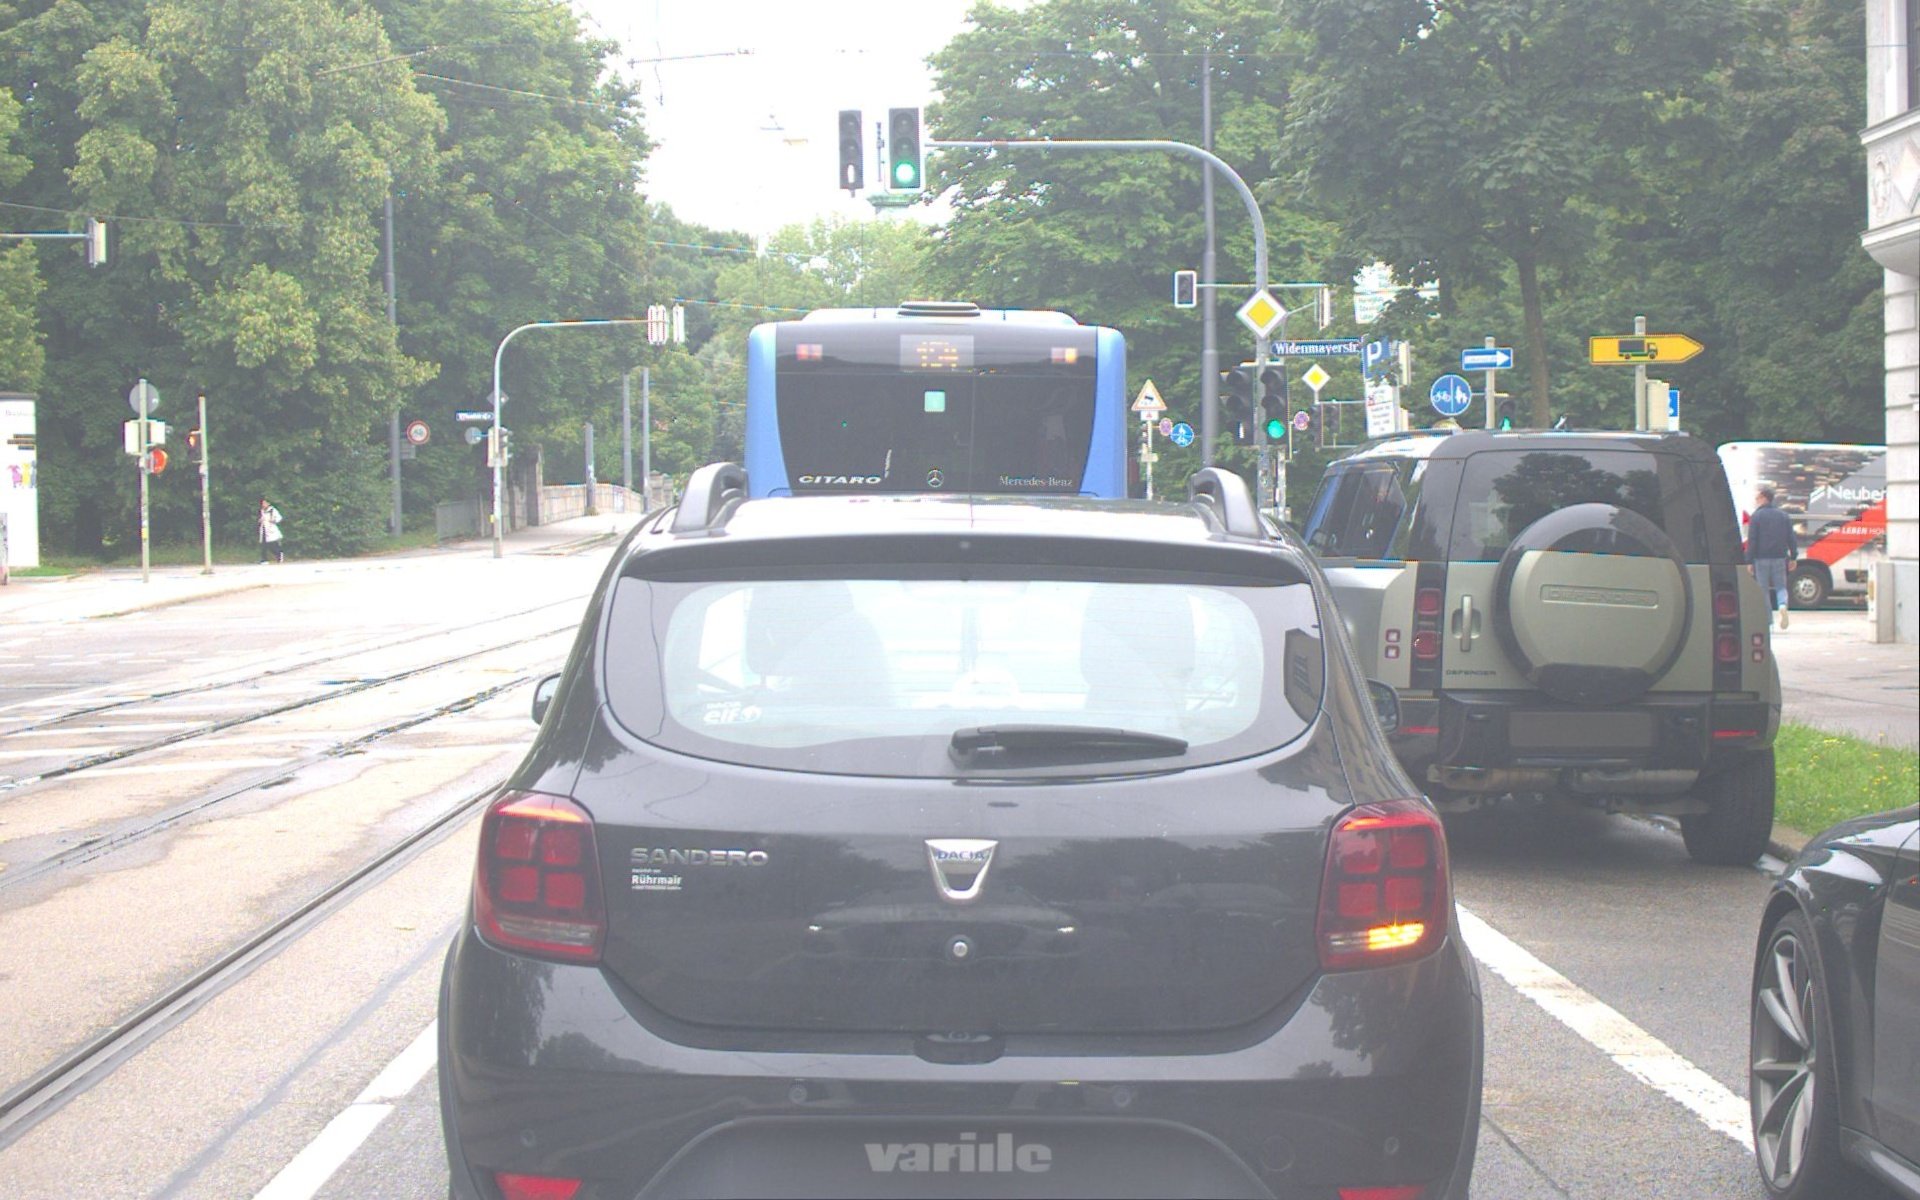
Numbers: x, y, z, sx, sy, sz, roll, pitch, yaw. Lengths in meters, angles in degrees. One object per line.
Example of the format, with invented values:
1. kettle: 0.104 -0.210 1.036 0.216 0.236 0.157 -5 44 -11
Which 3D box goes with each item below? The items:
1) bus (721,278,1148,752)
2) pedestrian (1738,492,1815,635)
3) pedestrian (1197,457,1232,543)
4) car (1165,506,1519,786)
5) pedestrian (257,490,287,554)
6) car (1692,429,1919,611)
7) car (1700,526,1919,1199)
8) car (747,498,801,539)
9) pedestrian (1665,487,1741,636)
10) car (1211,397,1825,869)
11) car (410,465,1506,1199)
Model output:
1. bus: -0.307 -0.608 25.532 2.678 2.987 6.962 1 1 -2
2. pedestrian: 10.006 -0.451 42.146 0.705 1.726 0.843 1 1 -1
3. pedestrian: 6.313 -2.490 85.204 0.762 2.109 0.853 -1 2 0
4. car: 2.336 0.226 22.021 1.714 1.586 4.327 1 1 -1
5. pedestrian: -16.260 -1.847 81.227 0.532 1.496 0.588 1 1 4
6. car: 13.903 -1.167 51.448 5.295 2.603 2.231 1 1 -3
7. car: 2.668 0.602 5.829 1.716 1.421 4.603 1 1 -1
8. car: -6.487 -2.851 120.216 1.787 1.365 3.400 1 1 -2
9. pedestrian: 9.196 -0.482 42.551 0.705 1.810 0.870 1 1 -1
10. car: 2.468 0.092 16.505 1.914 1.899 4.809 1 1 -3
11. car: -0.041 0.559 6.853 1.600 1.551 3.525 1 1 -1
